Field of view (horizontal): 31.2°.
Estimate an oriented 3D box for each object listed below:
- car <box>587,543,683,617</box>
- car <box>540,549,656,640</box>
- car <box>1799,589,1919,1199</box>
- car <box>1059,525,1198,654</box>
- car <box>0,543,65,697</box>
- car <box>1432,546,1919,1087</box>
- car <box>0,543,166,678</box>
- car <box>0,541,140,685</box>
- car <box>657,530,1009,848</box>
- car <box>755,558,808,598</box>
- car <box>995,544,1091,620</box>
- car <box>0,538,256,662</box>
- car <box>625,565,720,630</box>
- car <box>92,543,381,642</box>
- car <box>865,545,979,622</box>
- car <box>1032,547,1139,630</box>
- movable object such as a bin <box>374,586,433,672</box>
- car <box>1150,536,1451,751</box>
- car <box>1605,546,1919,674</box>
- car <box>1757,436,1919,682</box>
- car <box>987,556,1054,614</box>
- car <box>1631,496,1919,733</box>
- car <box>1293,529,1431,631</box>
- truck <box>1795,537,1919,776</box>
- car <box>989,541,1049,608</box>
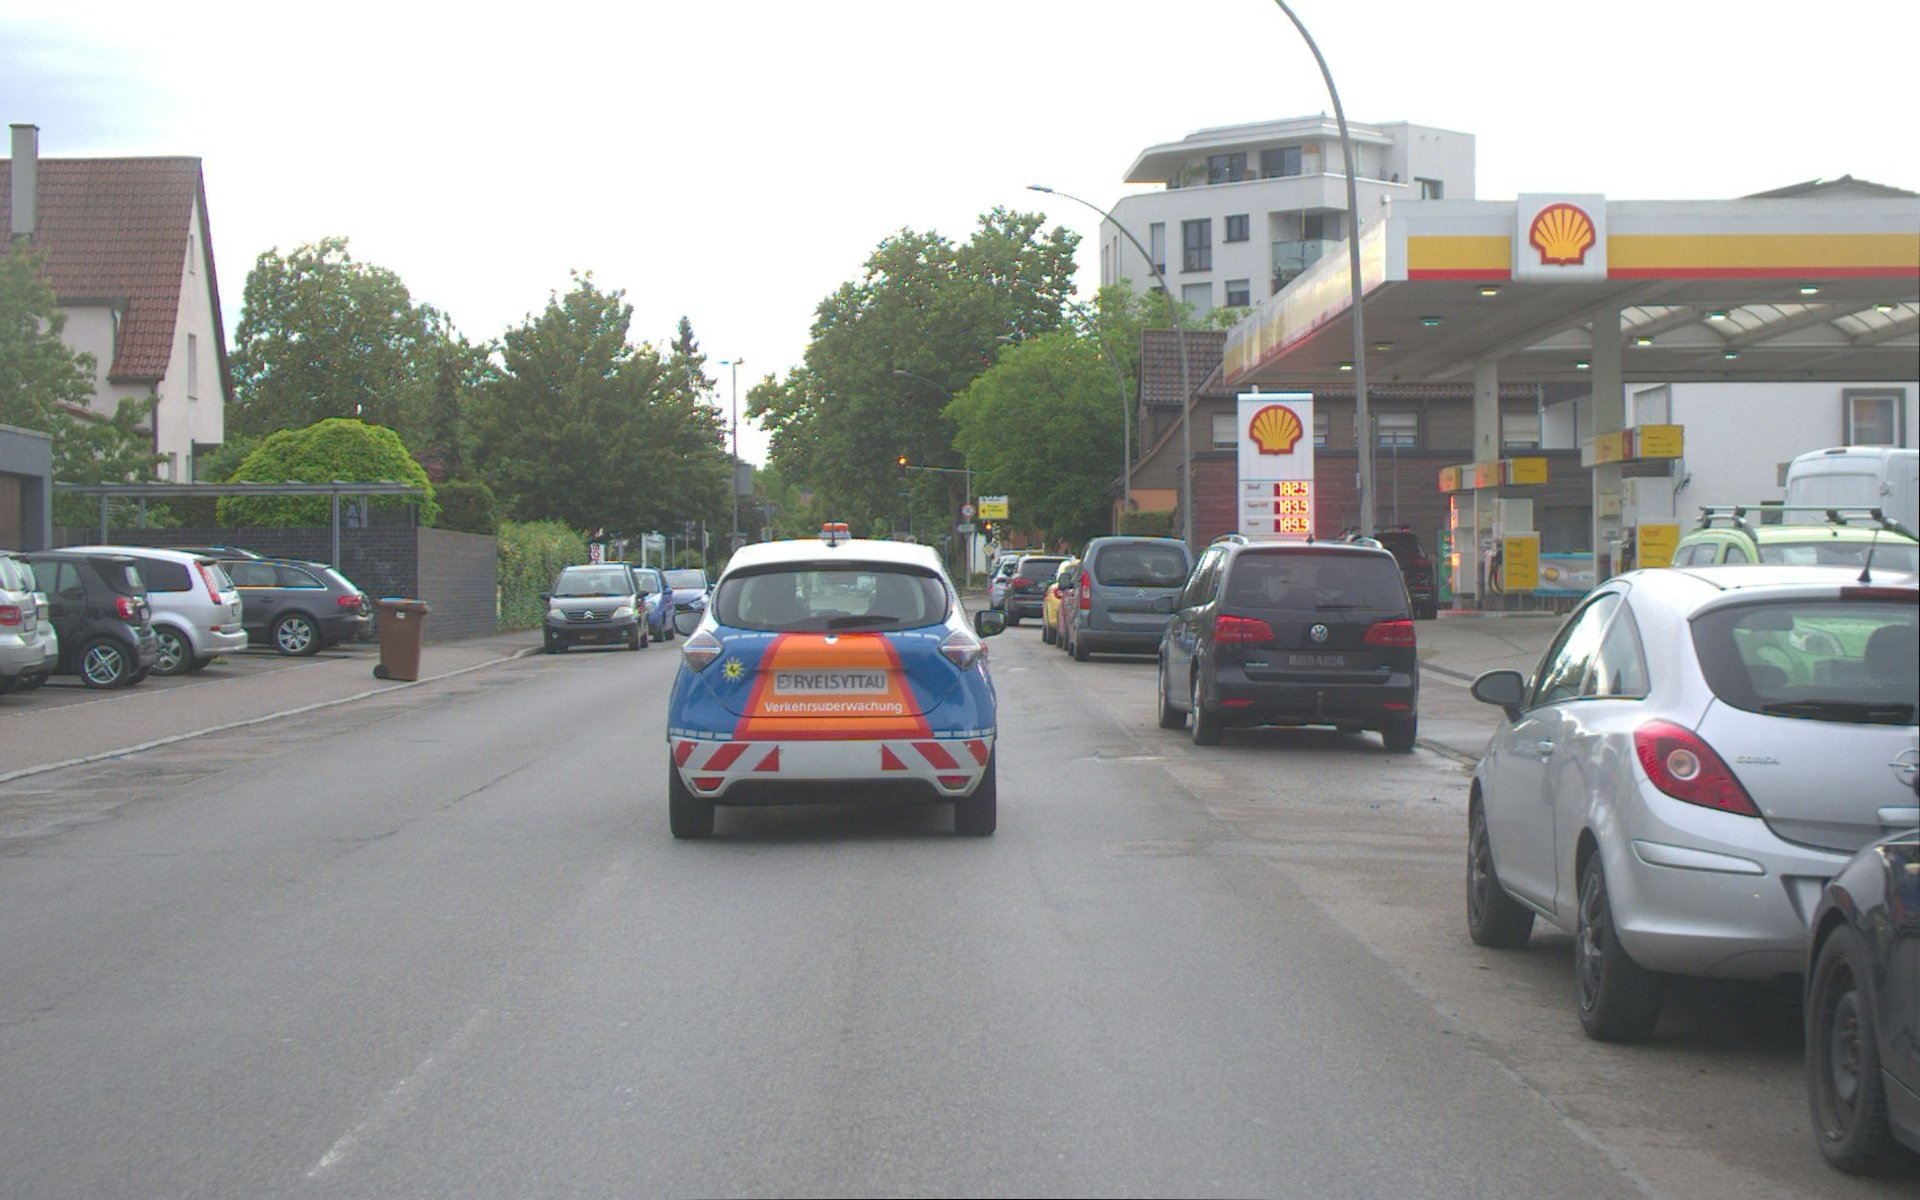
[{"bbox_3d":[-6.429,-0.406,68.177,1.545,1.398,3.597,-2,1,0],"label":"car"},{"bbox_3d":[-6.296,-0.108,60.114,1.608,1.501,3.707,-2,1,0],"label":"car"},{"bbox_3d":[2.971,0.736,6.593,1.737,1.398,3.719,2,1,-1],"label":"car"},{"bbox_3d":[2.396,-0.170,49.723,1.656,1.732,4.445,2,1,-1],"label":"car"},{"bbox_3d":[-11.361,0.191,35.016,4.083,1.527,2.000,0,1,-6],"label":"car"},{"bbox_3d":[2.731,0.596,11.694,1.737,1.497,3.881,2,1,1],"label":"car"},{"bbox_3d":[-11.256,0.110,39.249,4.083,1.498,1.757,0,1,-6],"label":"car"},{"bbox_3d":[-11.122,0.126,37.307,4.083,1.527,1.814,0,1,-4],"label":"car"},{"bbox_3d":[-0.657,0.405,19.230,1.746,1.575,4.000,-1,1,-1],"label":"car"},{"bbox_3d":[-6.441,-0.813,124.506,1.626,1.428,3.683,0,1,1],"label":"car"},{"bbox_3d":[1.941,-0.456,81.544,2.091,1.656,4.559,1,1,-1],"label":"car"},{"bbox_3d":[-11.011,-0.020,43.148,4.083,1.508,1.884,0,1,-6],"label":"car"},{"bbox_3d":[-6.538,-0.073,78.481,1.807,1.398,3.945,-2,1,0],"label":"car"},{"bbox_3d":[-10.734,-0.120,51.253,4.083,1.409,1.714,1,1,-8],"label":"car"},{"bbox_3d":[-0.807,-0.392,75.419,1.994,1.568,3.999,1,1,6],"label":"car"},{"bbox_3d":[2.157,-0.222,59.852,1.656,1.397,3.802,0,1,-1],"label":"car"},{"bbox_3d":[-7.337,0.378,45.316,0.595,1.053,0.687,4,2,0],"label":"movable object such as a bin"},{"bbox_3d":[2.671,0.289,27.876,1.993,1.590,4.000,-1,1,-1],"label":"car"},{"bbox_3d":[9.216,0.075,39.275,1.779,1.370,3.990,1,1,43],"label":"car"},{"bbox_3d":[11.262,-0.460,37.034,4.787,2.512,2.248,-1,1,-22],"label":"car"},{"bbox_3d":[1.791,-0.459,102.869,1.865,1.659,4.320,0,1,-1],"label":"car"},{"bbox_3d":[6.691,0.066,26.400,1.993,1.677,4.001,0,1,-5],"label":"car"},{"bbox_3d":[7.231,-0.375,62.183,1.819,1.753,4.001,-1,1,-3],"label":"car"},{"bbox_3d":[6.880,0.366,22.599,2.555,1.524,1.326,1,1,7],"label":"truck"},{"bbox_3d":[1.879,-0.828,108.745,1.778,2.022,4.753,1,1,2],"label":"car"}]
